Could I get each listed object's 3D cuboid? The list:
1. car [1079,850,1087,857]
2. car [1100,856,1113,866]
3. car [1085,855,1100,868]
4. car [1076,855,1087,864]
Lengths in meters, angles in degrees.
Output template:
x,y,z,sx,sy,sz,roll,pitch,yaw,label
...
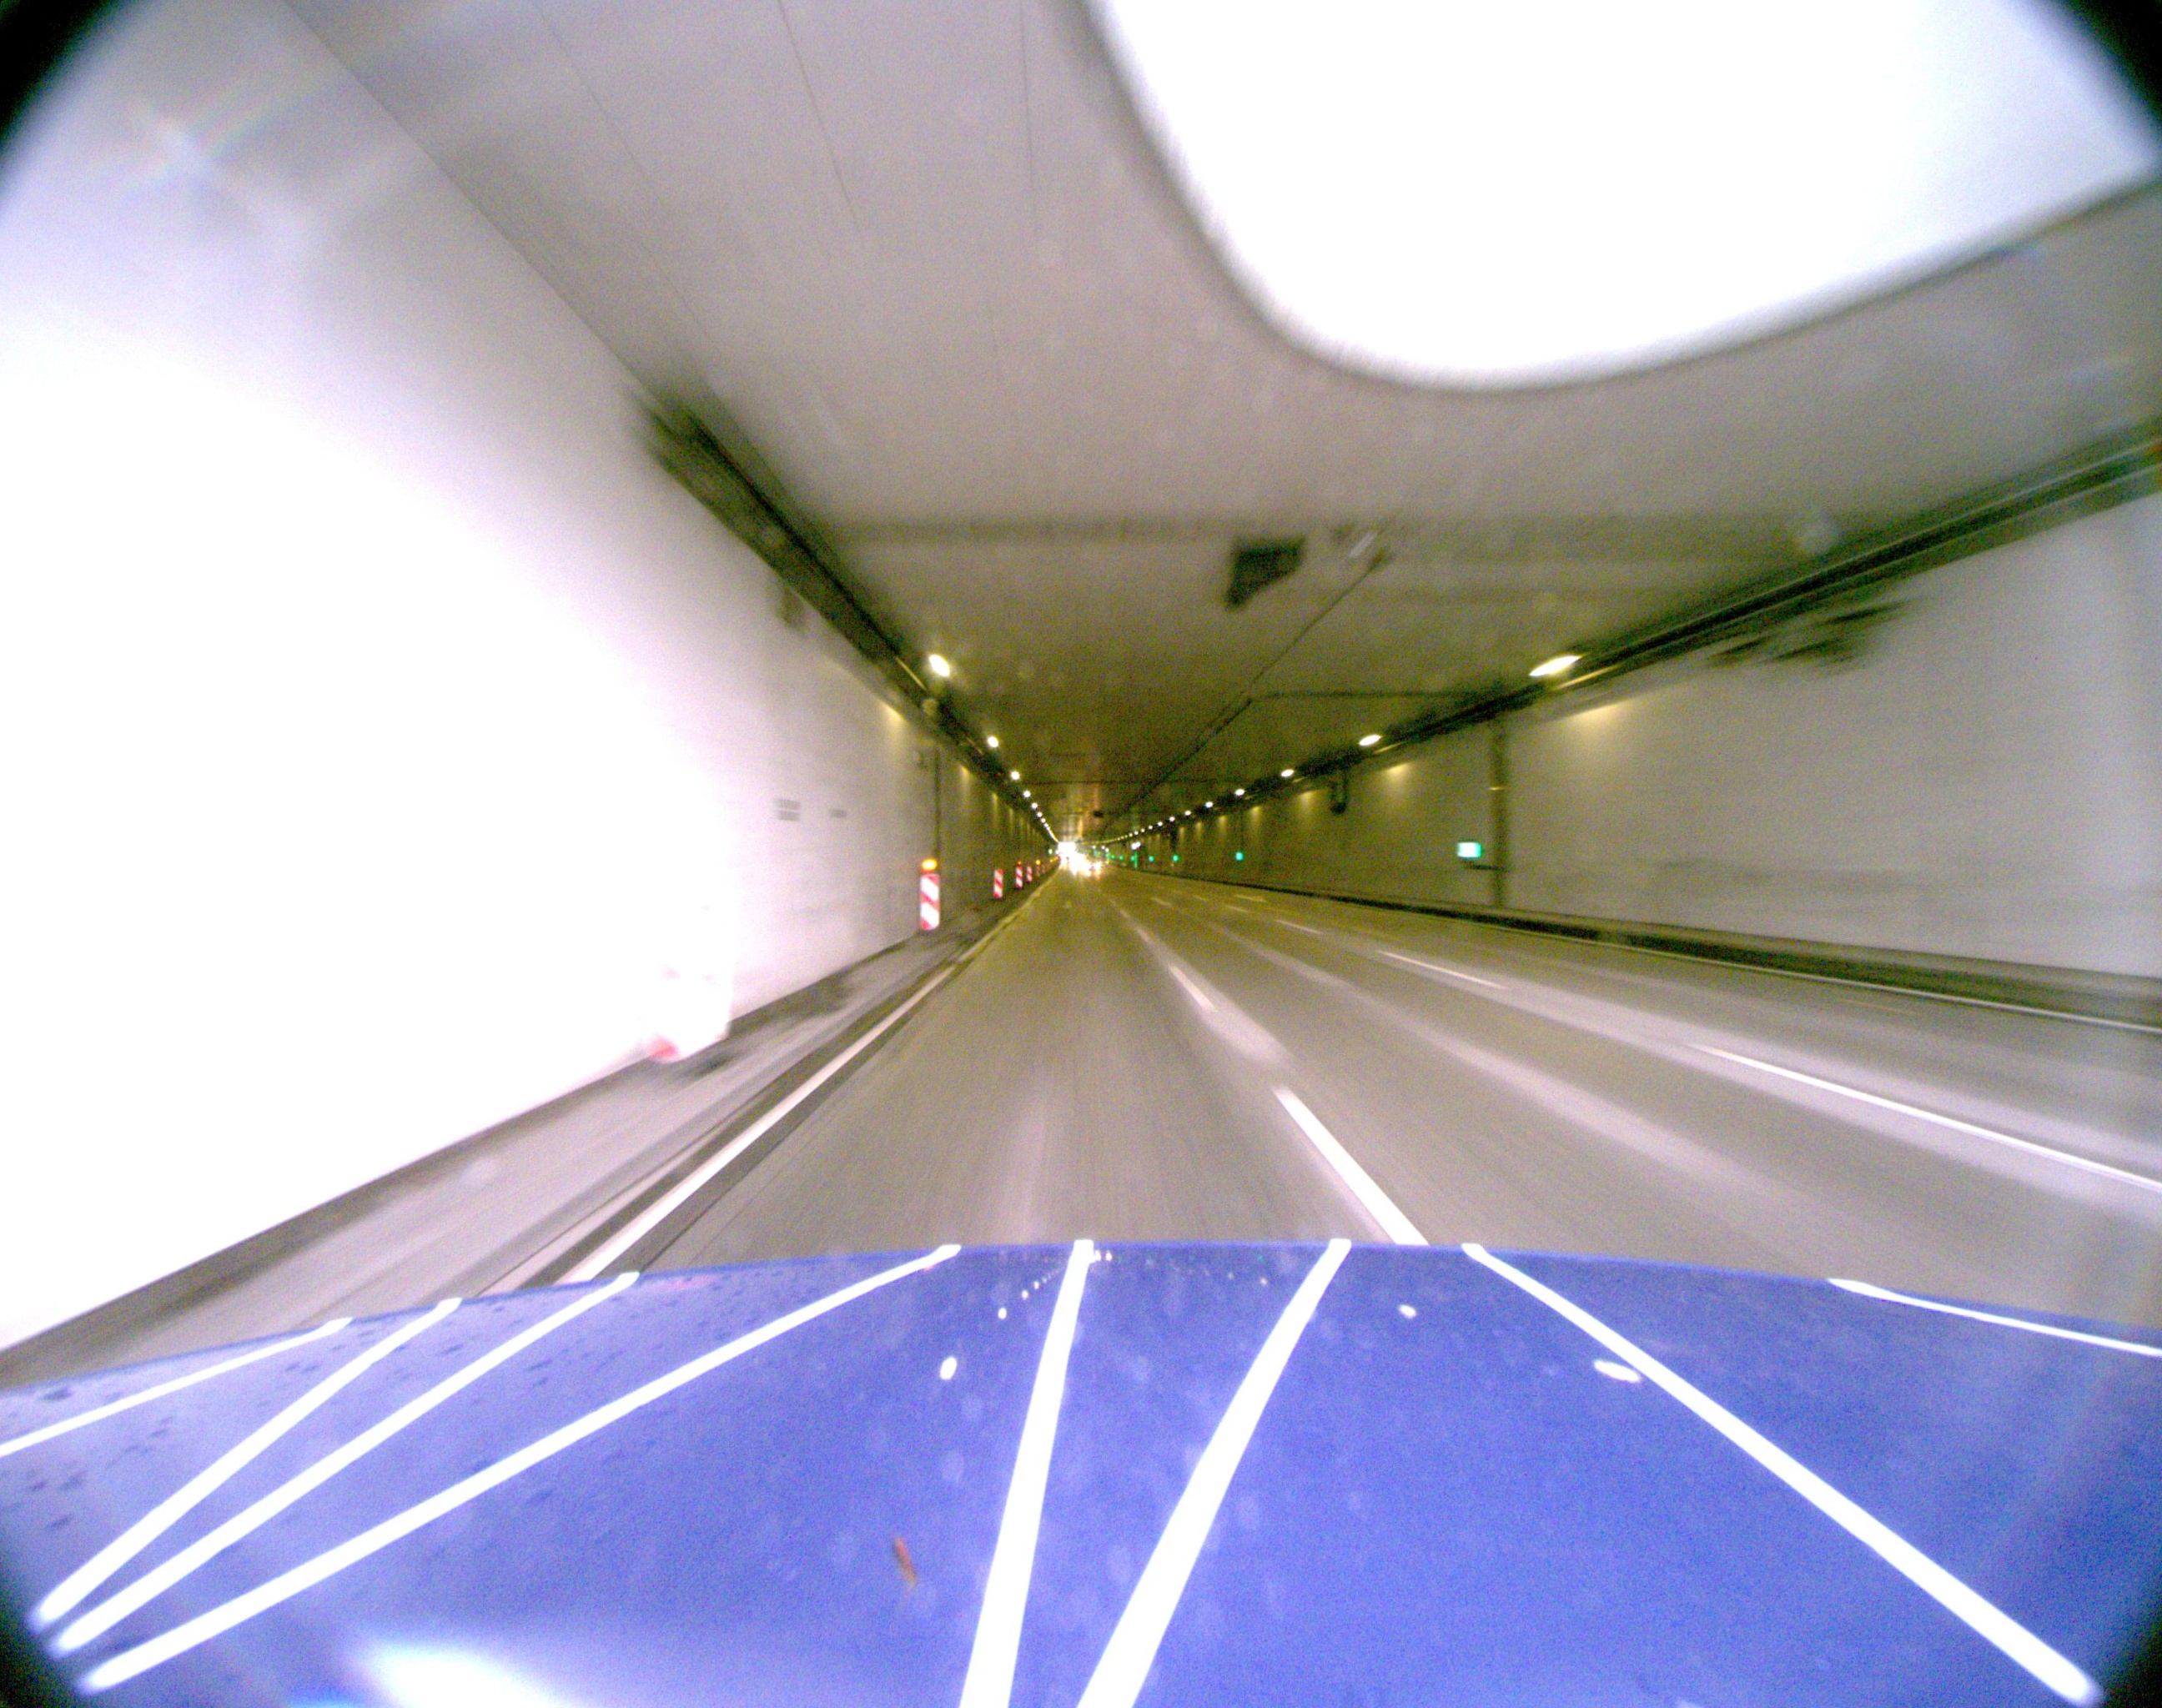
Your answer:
x,y,z,sx,sy,sz,roll,pitch,yaw,label
0.550,-0.124,221.761,1.999,1.756,3.999,-3,1,0,car
4.403,1.184,132.606,1.999,1.685,3.999,1,0,-1,car
1.645,1.094,107.726,1.999,1.686,3.999,-2,0,0,car
0.107,1.050,147.194,1.999,1.686,3.999,-2,0,0,car
